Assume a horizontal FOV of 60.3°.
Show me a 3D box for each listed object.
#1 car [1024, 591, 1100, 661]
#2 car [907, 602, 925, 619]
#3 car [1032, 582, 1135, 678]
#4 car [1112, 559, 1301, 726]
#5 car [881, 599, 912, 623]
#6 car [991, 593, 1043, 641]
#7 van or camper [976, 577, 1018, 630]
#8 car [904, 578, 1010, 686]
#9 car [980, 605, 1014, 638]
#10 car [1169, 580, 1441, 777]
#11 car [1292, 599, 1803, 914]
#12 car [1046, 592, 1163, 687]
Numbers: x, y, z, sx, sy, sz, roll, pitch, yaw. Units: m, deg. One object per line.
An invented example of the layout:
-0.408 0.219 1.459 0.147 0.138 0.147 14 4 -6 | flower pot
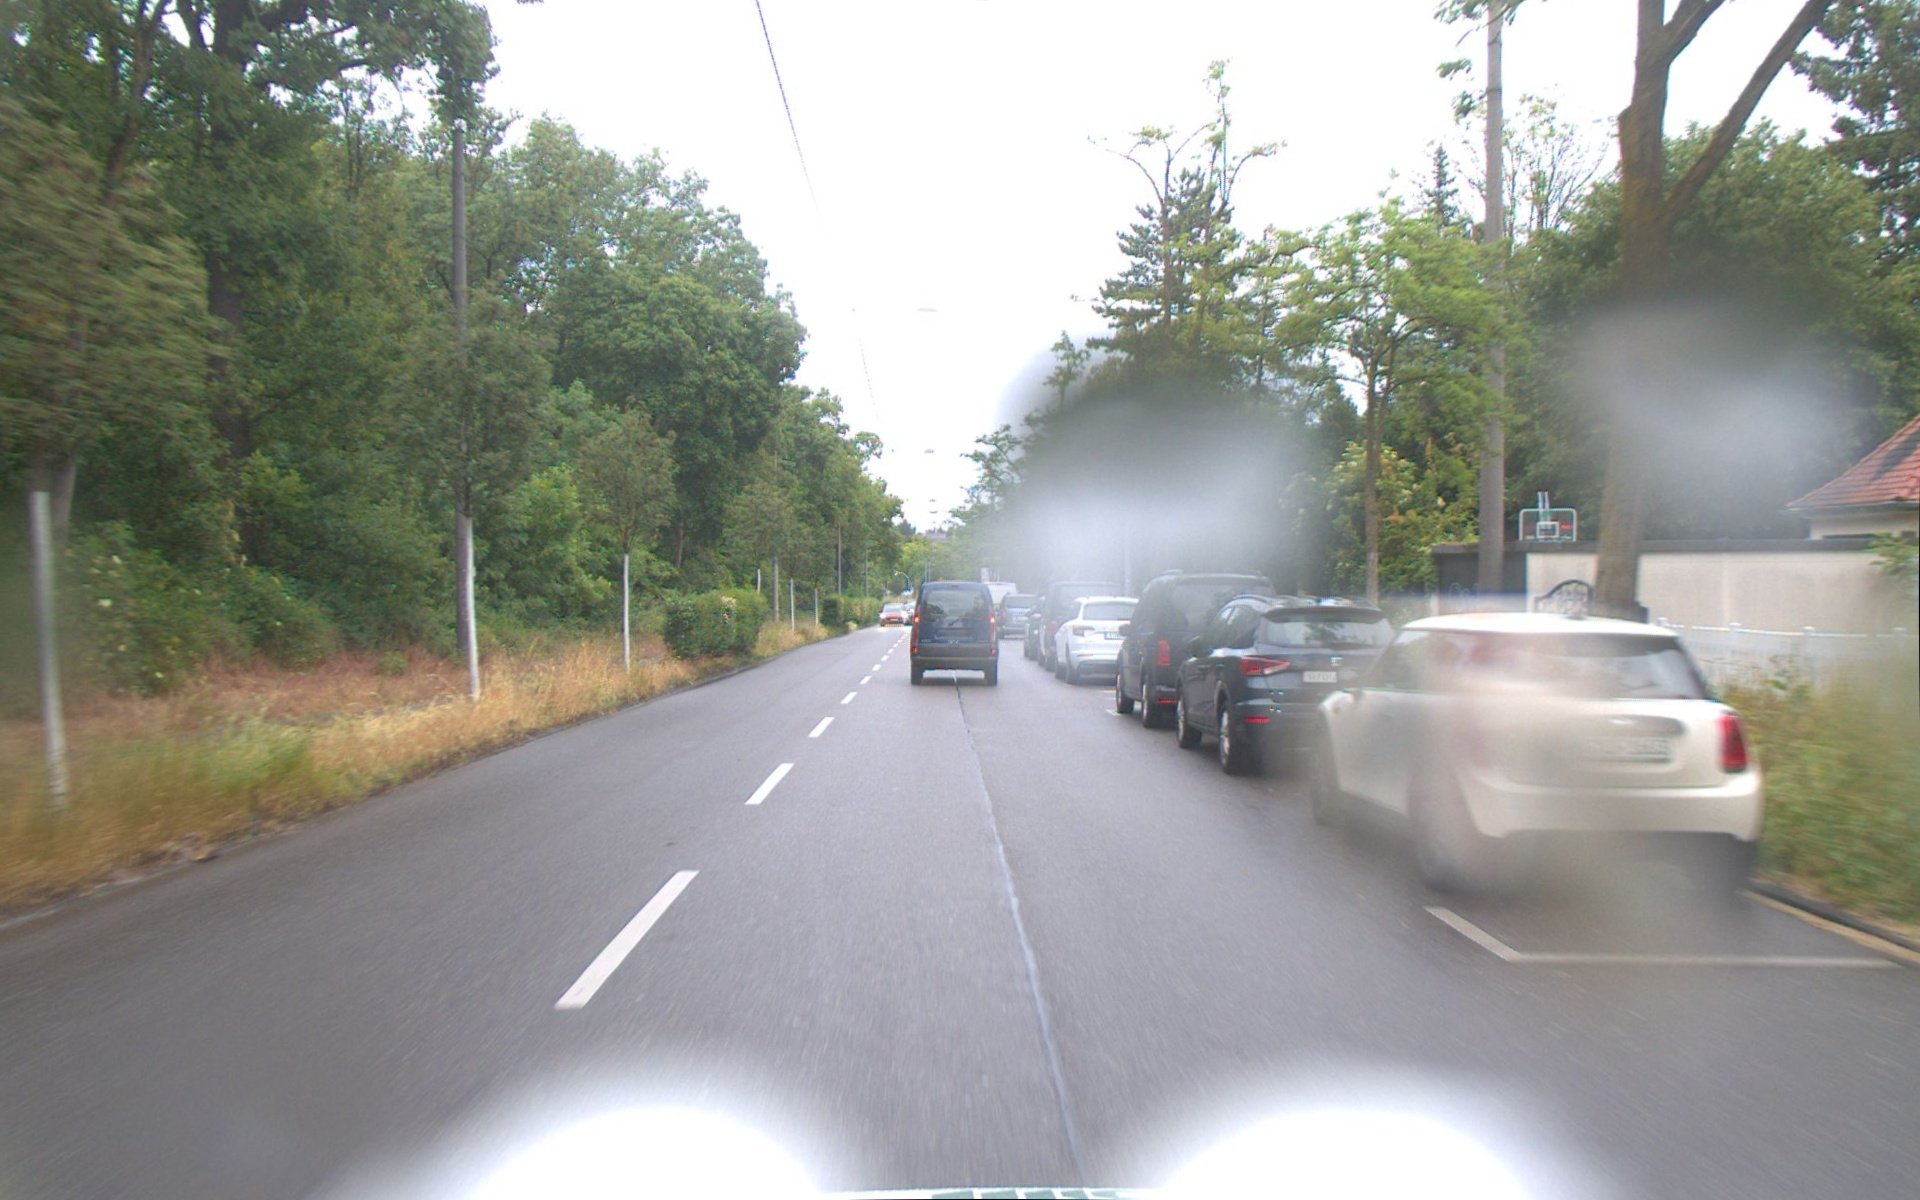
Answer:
2.696 0.662 44.518 1.737 1.753 4.326 1 0 0 | car
-4.244 1.010 159.969 1.747 1.505 3.966 -1 -1 -1 | car
2.784 0.622 38.165 1.953 2.049 4.887 1 0 0 | car
3.021 0.464 21.067 1.695 1.879 4.229 1 0 -1 | car
-4.068 0.692 106.544 1.822 1.506 4.156 -1 0 0 | car
2.312 0.659 68.194 1.778 1.845 4.281 1 0 -2 | car
1.956 0.156 88.915 2.036 2.697 5.345 1 0 -1 | van or camper
-0.114 0.547 30.840 1.732 1.862 3.539 1 0 -4 | car
1.840 1.025 81.084 1.592 1.489 3.809 1 0 2 | car
3.084 0.626 15.573 1.644 1.583 4.075 1 0 -1 | car
3.265 0.770 9.989 1.702 1.490 3.724 1 0 -1 | car
2.697 0.692 31.711 1.768 1.641 4.285 1 0 -1 | car
